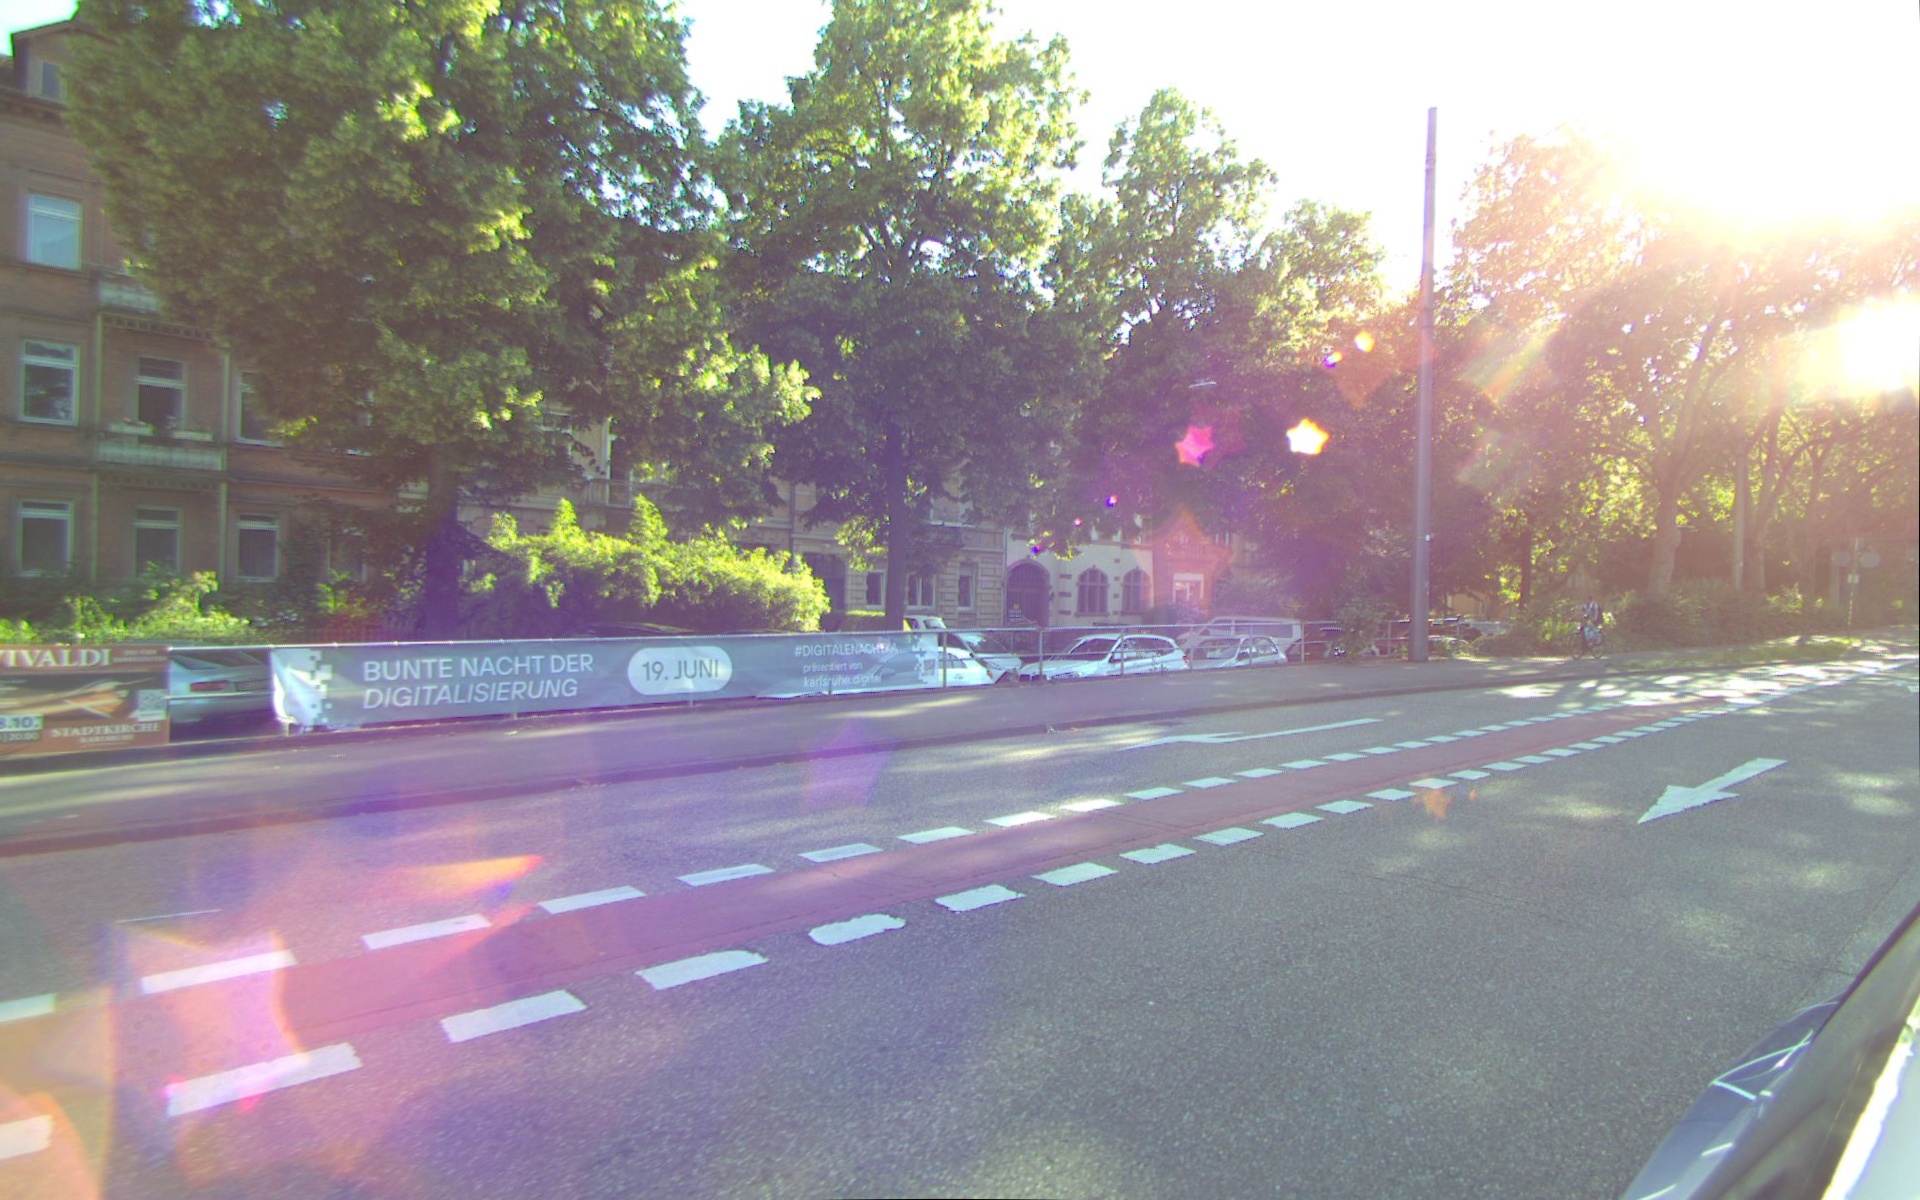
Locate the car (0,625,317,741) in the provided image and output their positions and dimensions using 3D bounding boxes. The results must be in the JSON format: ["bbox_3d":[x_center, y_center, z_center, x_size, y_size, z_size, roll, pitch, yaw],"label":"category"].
[{"bbox_3d":[-12.779,1.239,16.146,4.190,1.424,1.955,2,1,16],"label":"car"}]

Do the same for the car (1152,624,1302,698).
[{"bbox_3d":[6.304,1.371,23.774,3.516,1.459,1.796,-1,1,-42],"label":"car"}]

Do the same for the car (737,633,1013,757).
[{"bbox_3d":[-1.310,1.444,16.848,4.366,1.599,1.797,-1,1,-41],"label":"car"}]

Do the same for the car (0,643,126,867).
[{"bbox_3d":[-10.165,1.458,8.901,4.286,1.922,1.796,-1,0,-43],"label":"car"}]

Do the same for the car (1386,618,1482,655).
[{"bbox_3d":[23.065,1.759,49.404,3.947,1.529,1.790,2,1,18],"label":"car"}]

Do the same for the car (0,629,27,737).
[{"bbox_3d":[-15.705,1.132,14.255,3.937,1.498,1.794,2,1,11],"label":"car"}]

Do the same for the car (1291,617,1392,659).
[{"bbox_3d":[16.491,1.627,43.909,3.947,1.529,1.790,2,1,18],"label":"car"}]

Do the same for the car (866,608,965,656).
[{"bbox_3d":[-1.688,1.152,37.704,1.770,1.541,3.570,0,2,-43],"label":"car"}]

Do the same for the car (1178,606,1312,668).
[{"bbox_3d":[10.550,1.334,37.536,4.620,1.990,1.862,2,1,18],"label":"car"}]

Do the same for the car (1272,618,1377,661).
[{"bbox_3d":[14.876,1.595,41.495,3.871,1.470,1.680,2,1,17],"label":"car"}]

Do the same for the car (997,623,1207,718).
[{"bbox_3d":[3.008,1.353,20.888,4.474,1.599,1.797,-1,1,-41],"label":"car"}]

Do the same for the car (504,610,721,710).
[{"bbox_3d":[-7.236,1.192,21.219,3.939,1.756,1.793,2,1,13],"label":"car"}]

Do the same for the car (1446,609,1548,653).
[{"bbox_3d":[28.076,1.574,53.090,4.408,2.039,1.984,2,1,20],"label":"car"}]

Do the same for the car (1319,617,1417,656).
[{"bbox_3d":[18.526,1.643,46.110,3.947,1.529,1.790,2,1,18],"label":"car"}]

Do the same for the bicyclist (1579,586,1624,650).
[{"bbox_3d":[15.776,0.421,24.889,0.639,1.532,0.767,0,0,-41],"label":"bicyclist"}]

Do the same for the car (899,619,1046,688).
[{"bbox_3d":[0.267,1.393,27.680,1.769,1.532,3.994,1,1,-42],"label":"car"}]

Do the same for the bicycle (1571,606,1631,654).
[{"bbox_3d":[15.786,0.711,24.913,1.768,1.121,0.767,0,1,-41],"label":"bicycle"}]

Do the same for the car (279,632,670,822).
[{"bbox_3d":[-6.022,1.421,12.915,1.793,1.825,4.147,0,1,42],"label":"car"}]

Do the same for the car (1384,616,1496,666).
[{"bbox_3d":[14.913,1.236,31.367,3.932,1.325,1.796,-1,1,-42],"label":"car"}]

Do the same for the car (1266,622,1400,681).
[{"bbox_3d":[10.139,1.332,27.406,3.932,1.325,1.796,-1,1,-42],"label":"car"}]

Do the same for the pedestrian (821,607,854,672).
[{"bbox_3d":[-3.411,1.087,28.141,0.621,1.768,0.648,0,0,-45],"label":"pedestrian"}]

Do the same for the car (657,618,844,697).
[{"bbox_3d":[-4.920,1.292,23.786,3.951,1.532,1.788,2,1,21],"label":"car"}]
